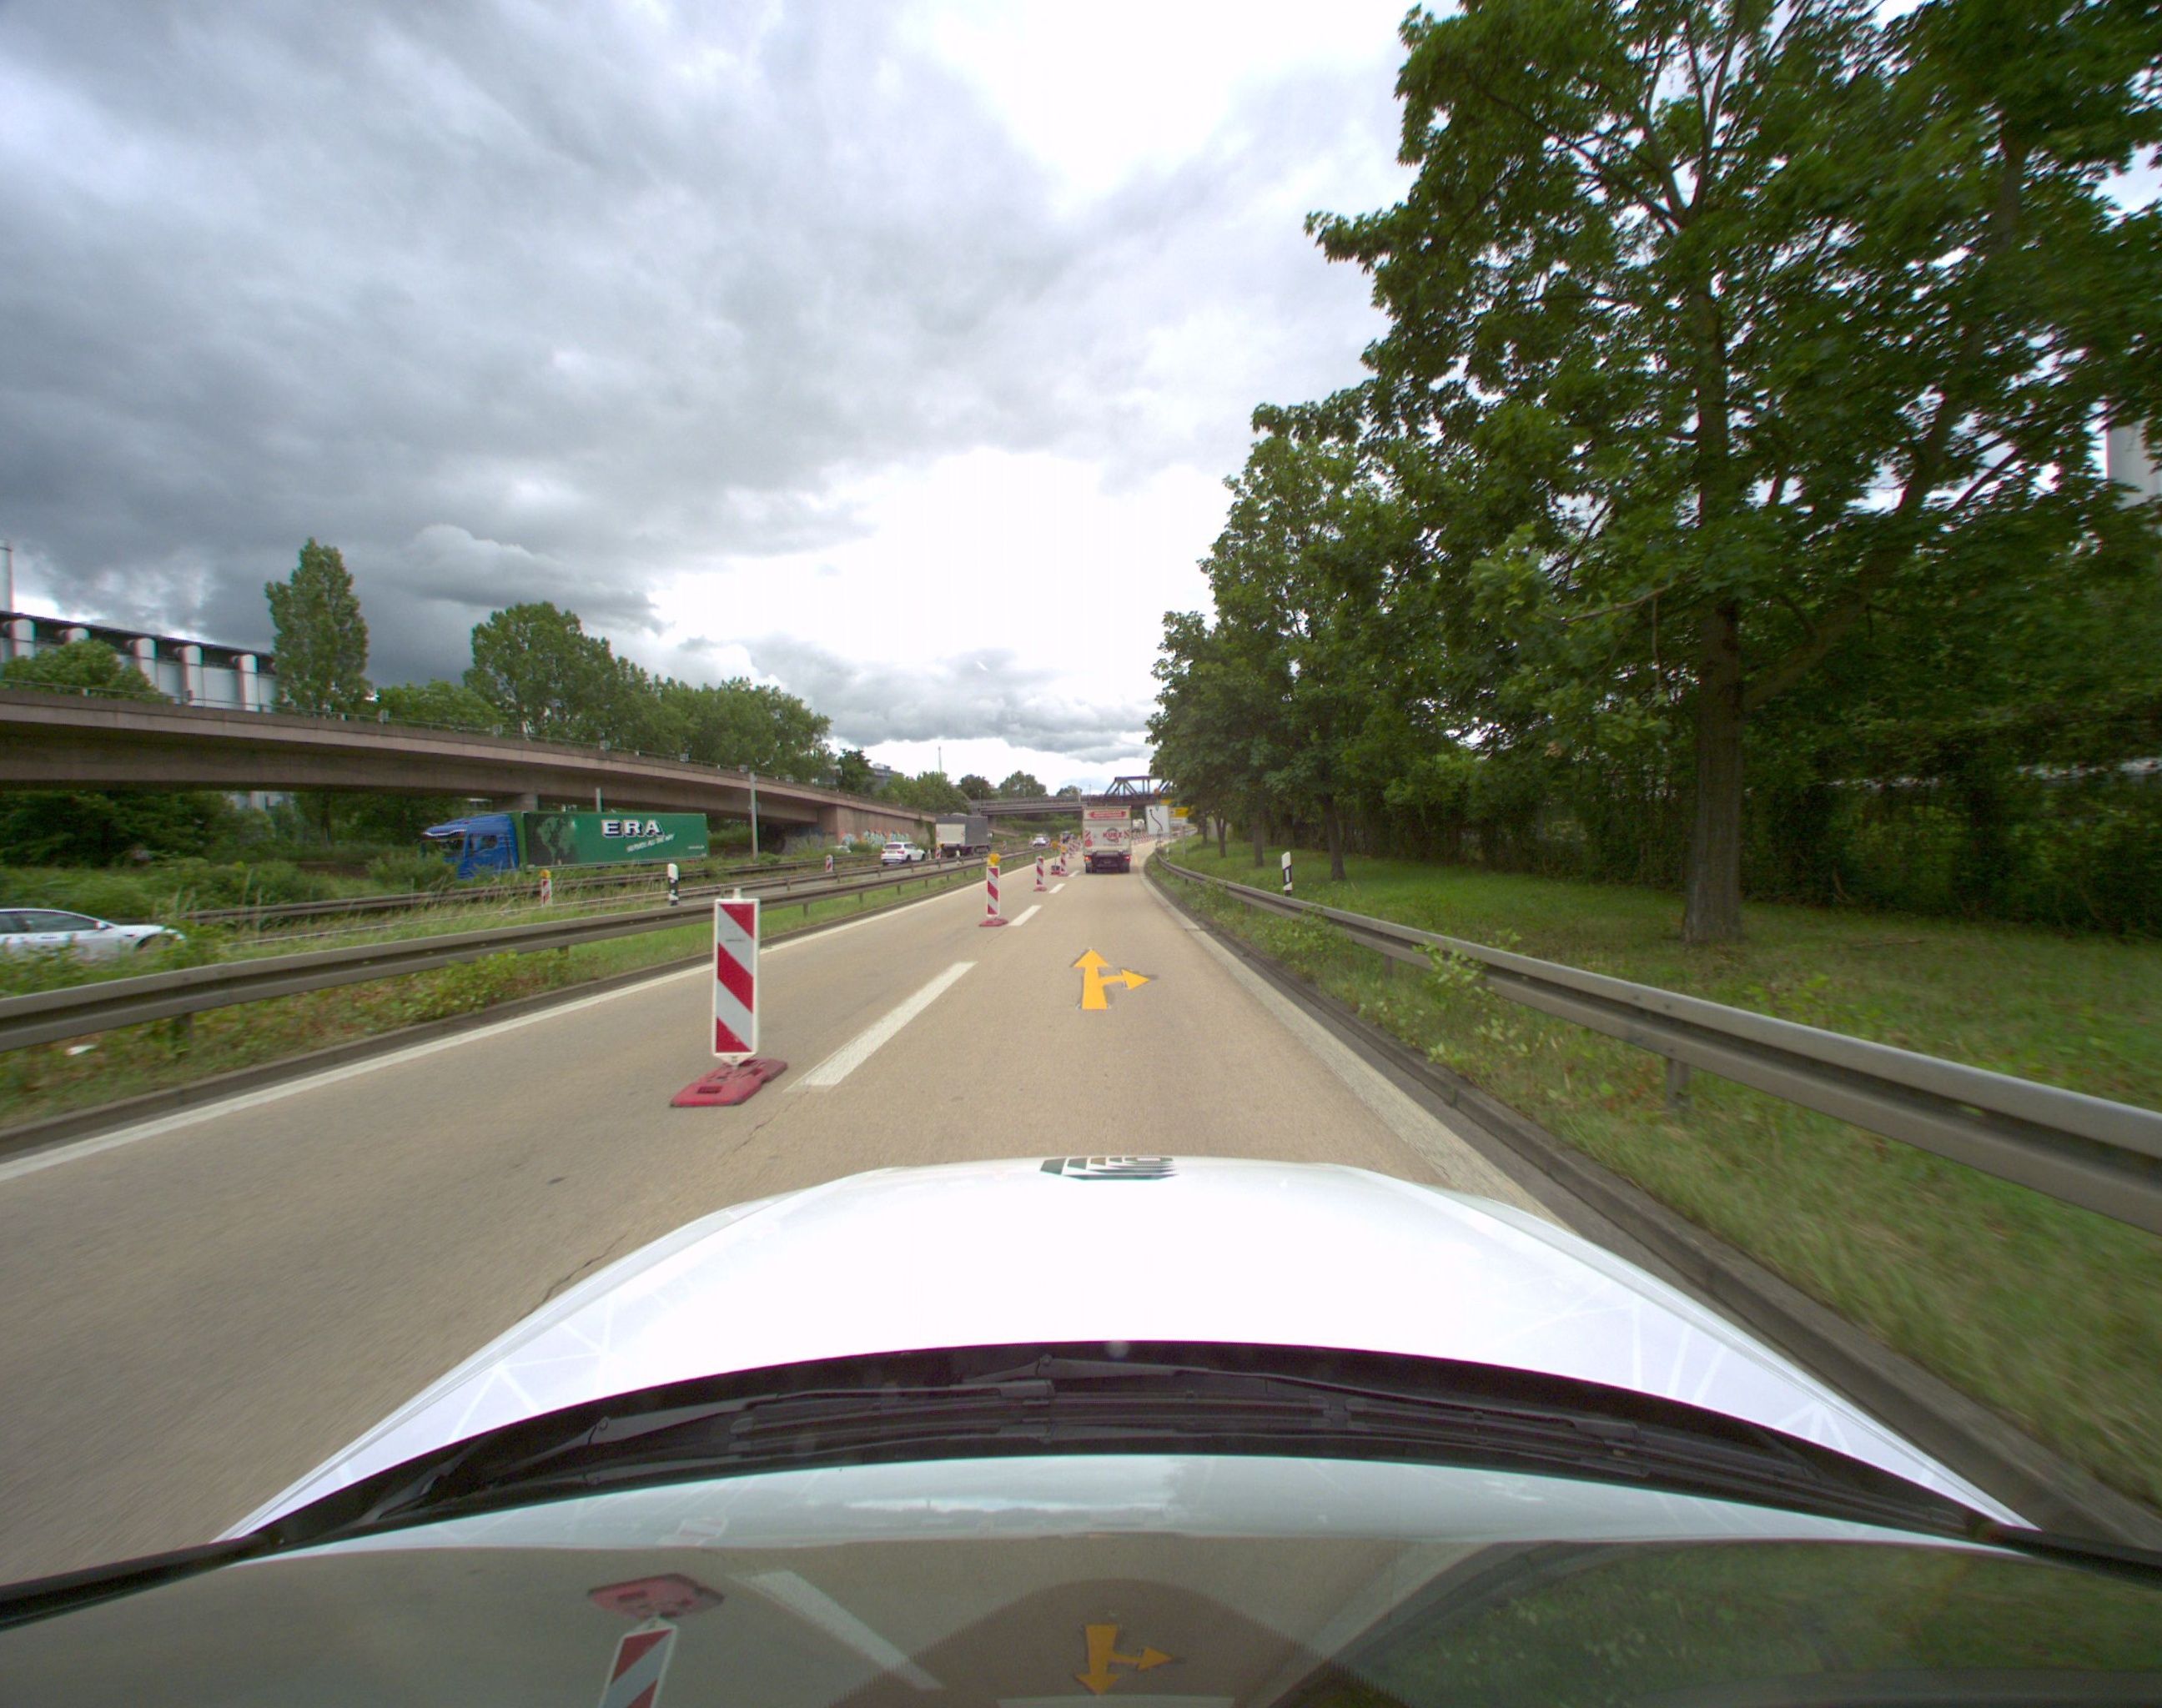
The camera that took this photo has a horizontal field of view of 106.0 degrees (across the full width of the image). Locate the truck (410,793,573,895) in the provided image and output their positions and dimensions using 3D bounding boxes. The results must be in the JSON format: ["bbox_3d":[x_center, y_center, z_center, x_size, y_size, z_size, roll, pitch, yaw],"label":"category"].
[{"bbox_3d":[-26.744,-0.462,37.270,2.735,4.271,5.519,-1,1,10],"label":"truck"}]

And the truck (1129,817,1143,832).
[{"bbox_3d":[14.197,-7.560,209.949,3.269,3.852,7.679,-1,1,6],"label":"truck"}]

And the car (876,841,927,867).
[{"bbox_3d":[-12.535,-0.016,57.045,1.981,1.712,4.114,-1,1,11],"label":"car"}]

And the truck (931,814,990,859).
[{"bbox_3d":[-10.258,-1.504,70.311,3.034,3.656,7.411,-1,1,7],"label":"truck"}]

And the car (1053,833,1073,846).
[{"bbox_3d":[-2.264,-1.832,102.591,1.983,1.618,4.008,-1,1,6],"label":"car"}]

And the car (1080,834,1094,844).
[{"bbox_3d":[1.003,-2.459,135.923,1.983,1.618,4.008,-1,1,6],"label":"car"}]

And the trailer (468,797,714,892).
[{"bbox_3d":[-25.554,-0.572,44.158,2.754,4.293,14.020,-1,1,10],"label":"trailer"}]

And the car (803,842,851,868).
[{"bbox_3d":[-20.909,0.055,67.204,1.979,2.013,4.015,-1,1,14],"label":"car"}]

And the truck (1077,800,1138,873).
[{"bbox_3d":[1.547,-0.921,45.583,3.038,3.673,7.934,-1,0,3],"label":"truck"}]

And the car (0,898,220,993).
[{"bbox_3d":[-20.004,1.745,15.355,1.981,1.455,4.816,-1,1,11],"label":"car"}]

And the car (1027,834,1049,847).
[{"bbox_3d":[-5.380,-1.697,102.113,1.983,1.618,4.008,-1,1,6],"label":"car"}]
